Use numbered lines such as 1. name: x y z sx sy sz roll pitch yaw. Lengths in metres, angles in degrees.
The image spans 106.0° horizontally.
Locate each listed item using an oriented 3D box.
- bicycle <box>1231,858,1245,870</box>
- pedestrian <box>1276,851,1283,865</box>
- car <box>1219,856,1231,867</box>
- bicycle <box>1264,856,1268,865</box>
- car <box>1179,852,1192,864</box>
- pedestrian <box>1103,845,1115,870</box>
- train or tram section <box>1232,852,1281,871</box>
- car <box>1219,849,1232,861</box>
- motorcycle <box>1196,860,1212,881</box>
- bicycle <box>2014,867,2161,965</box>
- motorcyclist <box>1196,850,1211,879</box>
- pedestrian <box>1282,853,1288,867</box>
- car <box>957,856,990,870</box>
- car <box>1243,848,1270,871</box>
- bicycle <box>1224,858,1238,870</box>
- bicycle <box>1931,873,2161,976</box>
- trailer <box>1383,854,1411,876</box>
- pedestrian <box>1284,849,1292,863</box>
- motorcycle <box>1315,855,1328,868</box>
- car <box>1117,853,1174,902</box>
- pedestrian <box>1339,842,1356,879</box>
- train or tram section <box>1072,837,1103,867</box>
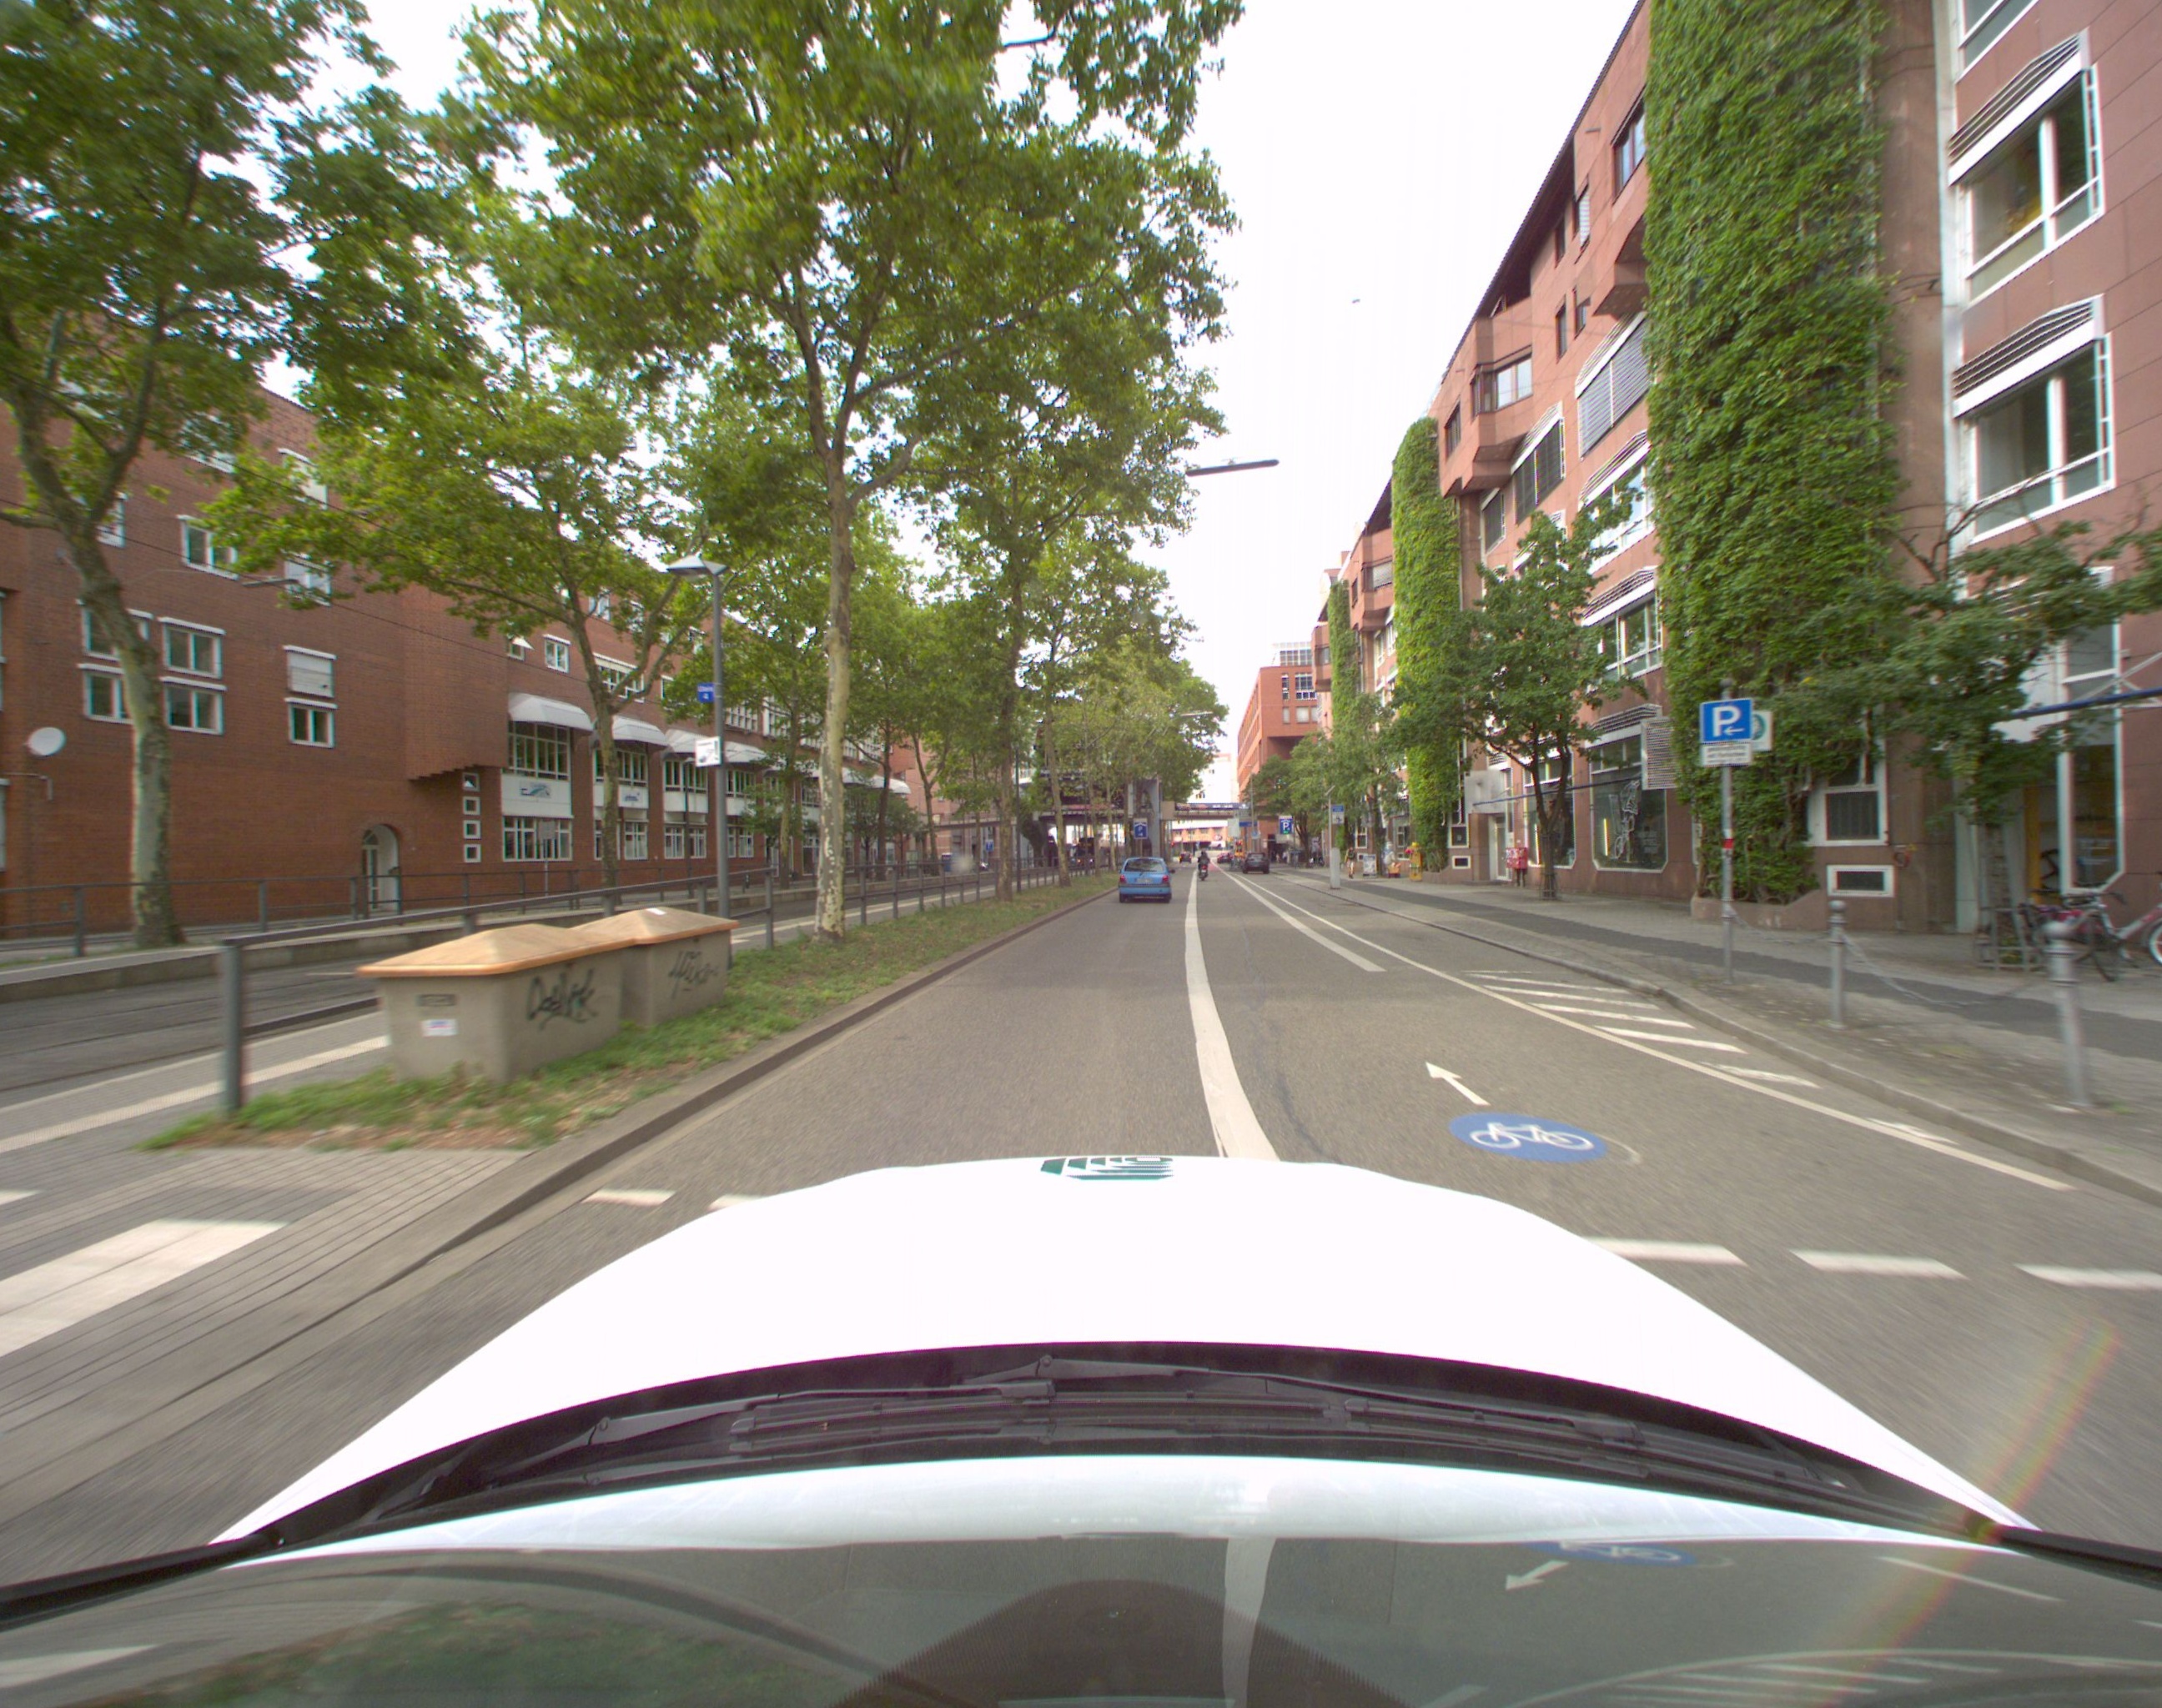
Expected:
1. bicycle: 13.736 0.870 71.355 0.563 1.008 2.004 -1 0 -7
2. pedestrian: 22.460 0.405 92.130 0.666 1.561 0.729 -1 0 4
3. car: 21.482 1.107 121.764 1.689 1.601 4.010 -1 0 9
4. bicycle: 19.452 0.726 85.688 0.353 0.939 1.211 -2 0 9
5. car: 15.719 0.612 122.480 1.875 1.624 4.010 -1 0 9
6. pedestrian: 2.047 0.246 59.802 0.724 1.858 0.872 -1 0 9
7. train or tram section: 33.086 1.354 153.443 8.788 3.253 2.389 -2 0 -10
8. car: 20.641 0.117 116.458 1.689 1.601 4.010 -1 0 9
9. motorcycle: 6.723 0.890 44.604 0.763 1.107 2.213 -2 0 7
10. bicycle: 11.900 0.678 9.268 0.614 1.008 1.736 -1 0 3
11. motorcyclist: 6.728 0.557 44.681 0.755 1.519 1.020 -2 0 7
12. pedestrian: 23.120 0.701 92.182 0.542 1.561 0.616 -1 0 8
13. car: -13.965 1.152 105.914 3.969 1.624 1.807 -1 0 4
14. car: 12.861 0.408 59.767 1.689 1.601 4.010 -1 0 9
15. bicycle: 13.086 0.892 71.118 0.563 1.008 2.004 -1 0 -7
16. bicycle: 10.907 0.751 9.303 0.614 1.008 1.736 -1 0 3
17. trailer: 15.983 0.573 41.179 0.982 1.059 1.619 -1 0 32
18. pedestrian: 23.177 0.208 91.220 0.666 1.561 0.729 -1 0 4
19. motorcycle: 22.027 0.664 74.613 0.752 1.136 2.440 -1 0 7
20. car: 2.150 0.705 26.259 1.631 1.386 3.851 -1 0 7
21. pedestrian: 13.797 0.330 42.177 0.643 1.858 0.784 -1 0 7
22. train or tram section: 0.788 -0.179 94.804 2.376 3.253 8.837 -2 0 8
